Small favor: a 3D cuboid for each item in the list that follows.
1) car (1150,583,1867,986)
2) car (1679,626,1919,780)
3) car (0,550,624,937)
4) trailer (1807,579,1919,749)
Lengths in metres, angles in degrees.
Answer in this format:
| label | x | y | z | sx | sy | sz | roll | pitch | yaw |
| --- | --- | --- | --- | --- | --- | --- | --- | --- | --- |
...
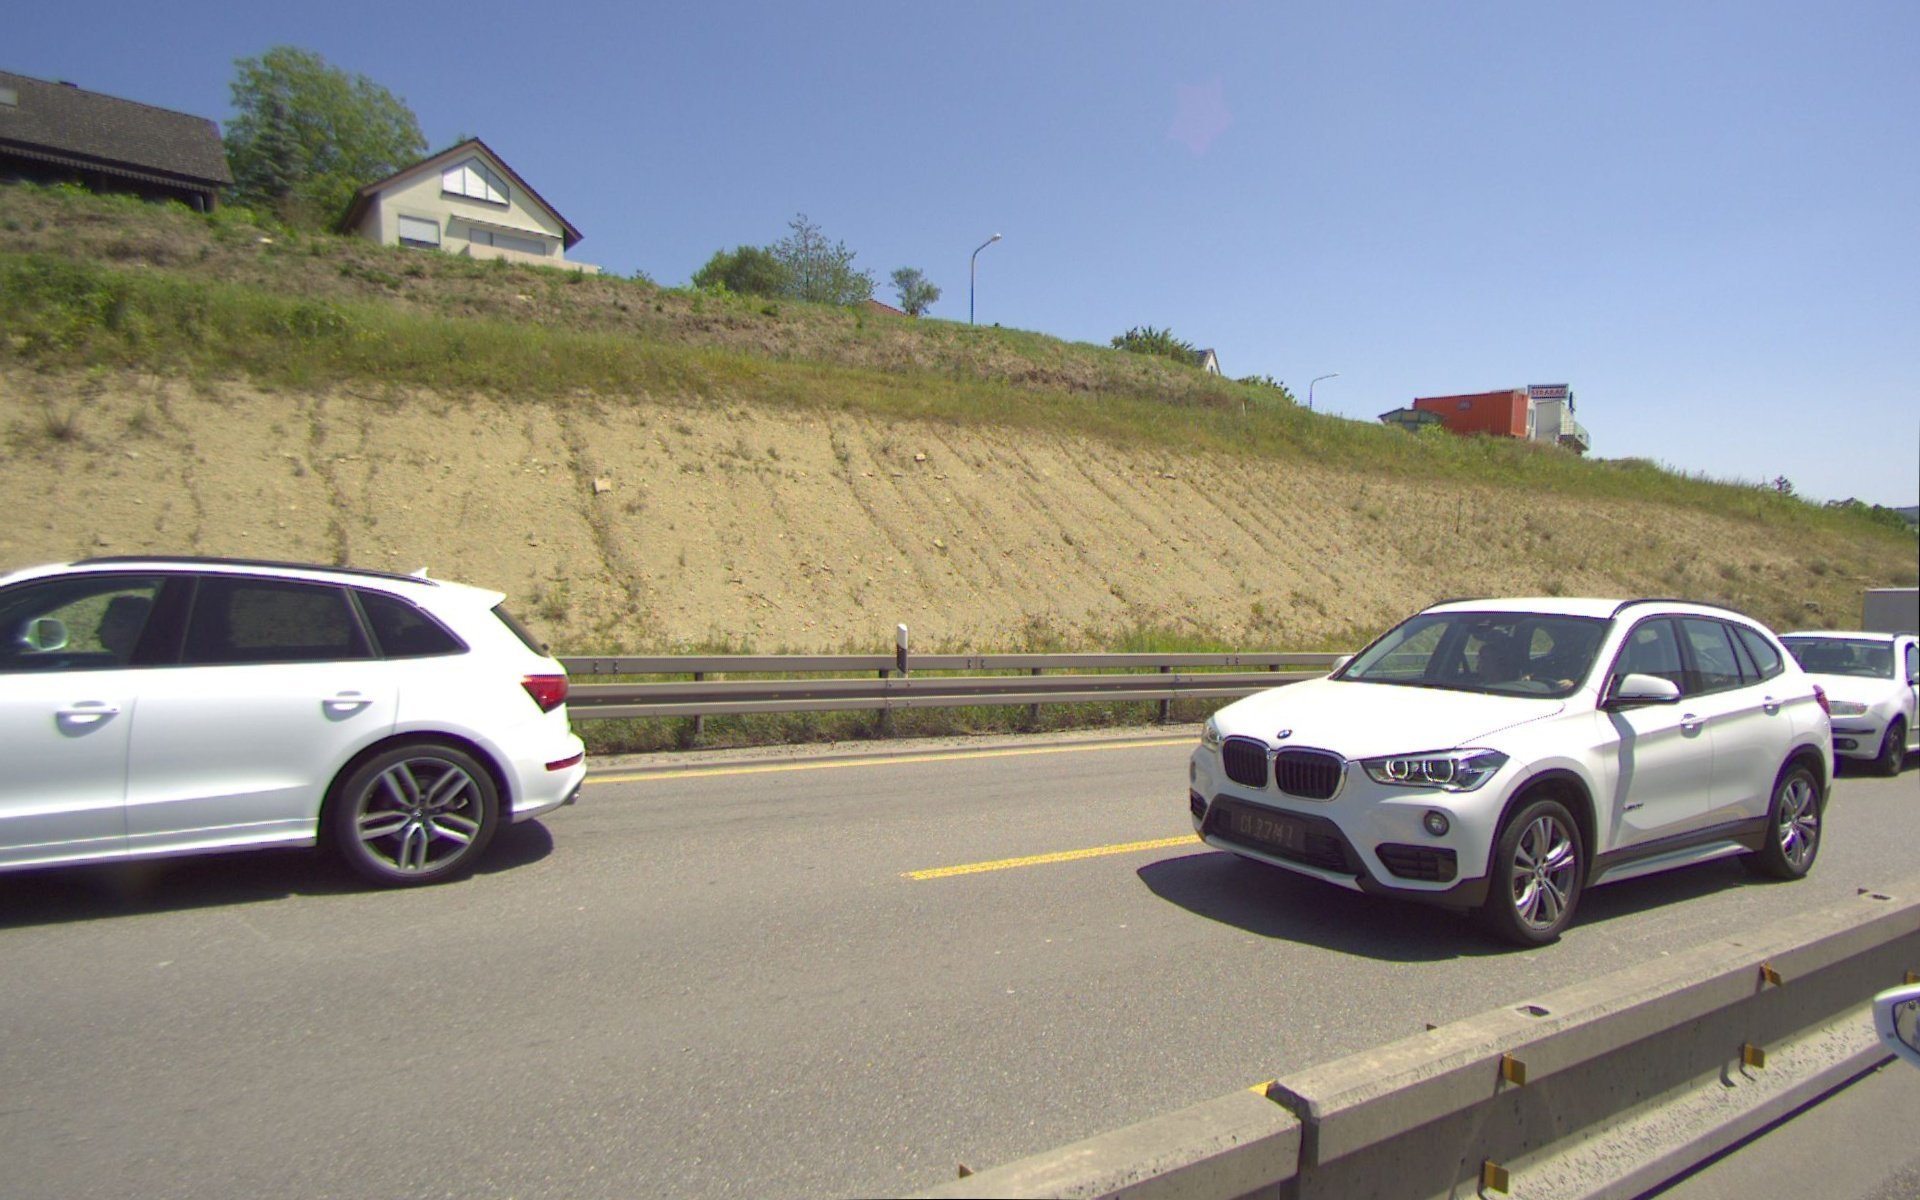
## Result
| label | x | y | z | sx | sy | sz | roll | pitch | yaw |
| --- | --- | --- | --- | --- | --- | --- | --- | --- | --- |
| car | 3.334 | 0.772 | 5.897 | 4.241 | 1.614 | 1.806 | 1 | 0 | -31 |
| car | 10.003 | 1.053 | 11.424 | 3.957 | 1.434 | 1.637 | 2 | -1 | -33 |
| car | -4.224 | 0.589 | 5.118 | 4.463 | 1.606 | 1.889 | 1 | 0 | -31 |
| trailer | 13.282 | 0.825 | 13.579 | 4.224 | 2.052 | 1.637 | 1 | -1 | -33 |
